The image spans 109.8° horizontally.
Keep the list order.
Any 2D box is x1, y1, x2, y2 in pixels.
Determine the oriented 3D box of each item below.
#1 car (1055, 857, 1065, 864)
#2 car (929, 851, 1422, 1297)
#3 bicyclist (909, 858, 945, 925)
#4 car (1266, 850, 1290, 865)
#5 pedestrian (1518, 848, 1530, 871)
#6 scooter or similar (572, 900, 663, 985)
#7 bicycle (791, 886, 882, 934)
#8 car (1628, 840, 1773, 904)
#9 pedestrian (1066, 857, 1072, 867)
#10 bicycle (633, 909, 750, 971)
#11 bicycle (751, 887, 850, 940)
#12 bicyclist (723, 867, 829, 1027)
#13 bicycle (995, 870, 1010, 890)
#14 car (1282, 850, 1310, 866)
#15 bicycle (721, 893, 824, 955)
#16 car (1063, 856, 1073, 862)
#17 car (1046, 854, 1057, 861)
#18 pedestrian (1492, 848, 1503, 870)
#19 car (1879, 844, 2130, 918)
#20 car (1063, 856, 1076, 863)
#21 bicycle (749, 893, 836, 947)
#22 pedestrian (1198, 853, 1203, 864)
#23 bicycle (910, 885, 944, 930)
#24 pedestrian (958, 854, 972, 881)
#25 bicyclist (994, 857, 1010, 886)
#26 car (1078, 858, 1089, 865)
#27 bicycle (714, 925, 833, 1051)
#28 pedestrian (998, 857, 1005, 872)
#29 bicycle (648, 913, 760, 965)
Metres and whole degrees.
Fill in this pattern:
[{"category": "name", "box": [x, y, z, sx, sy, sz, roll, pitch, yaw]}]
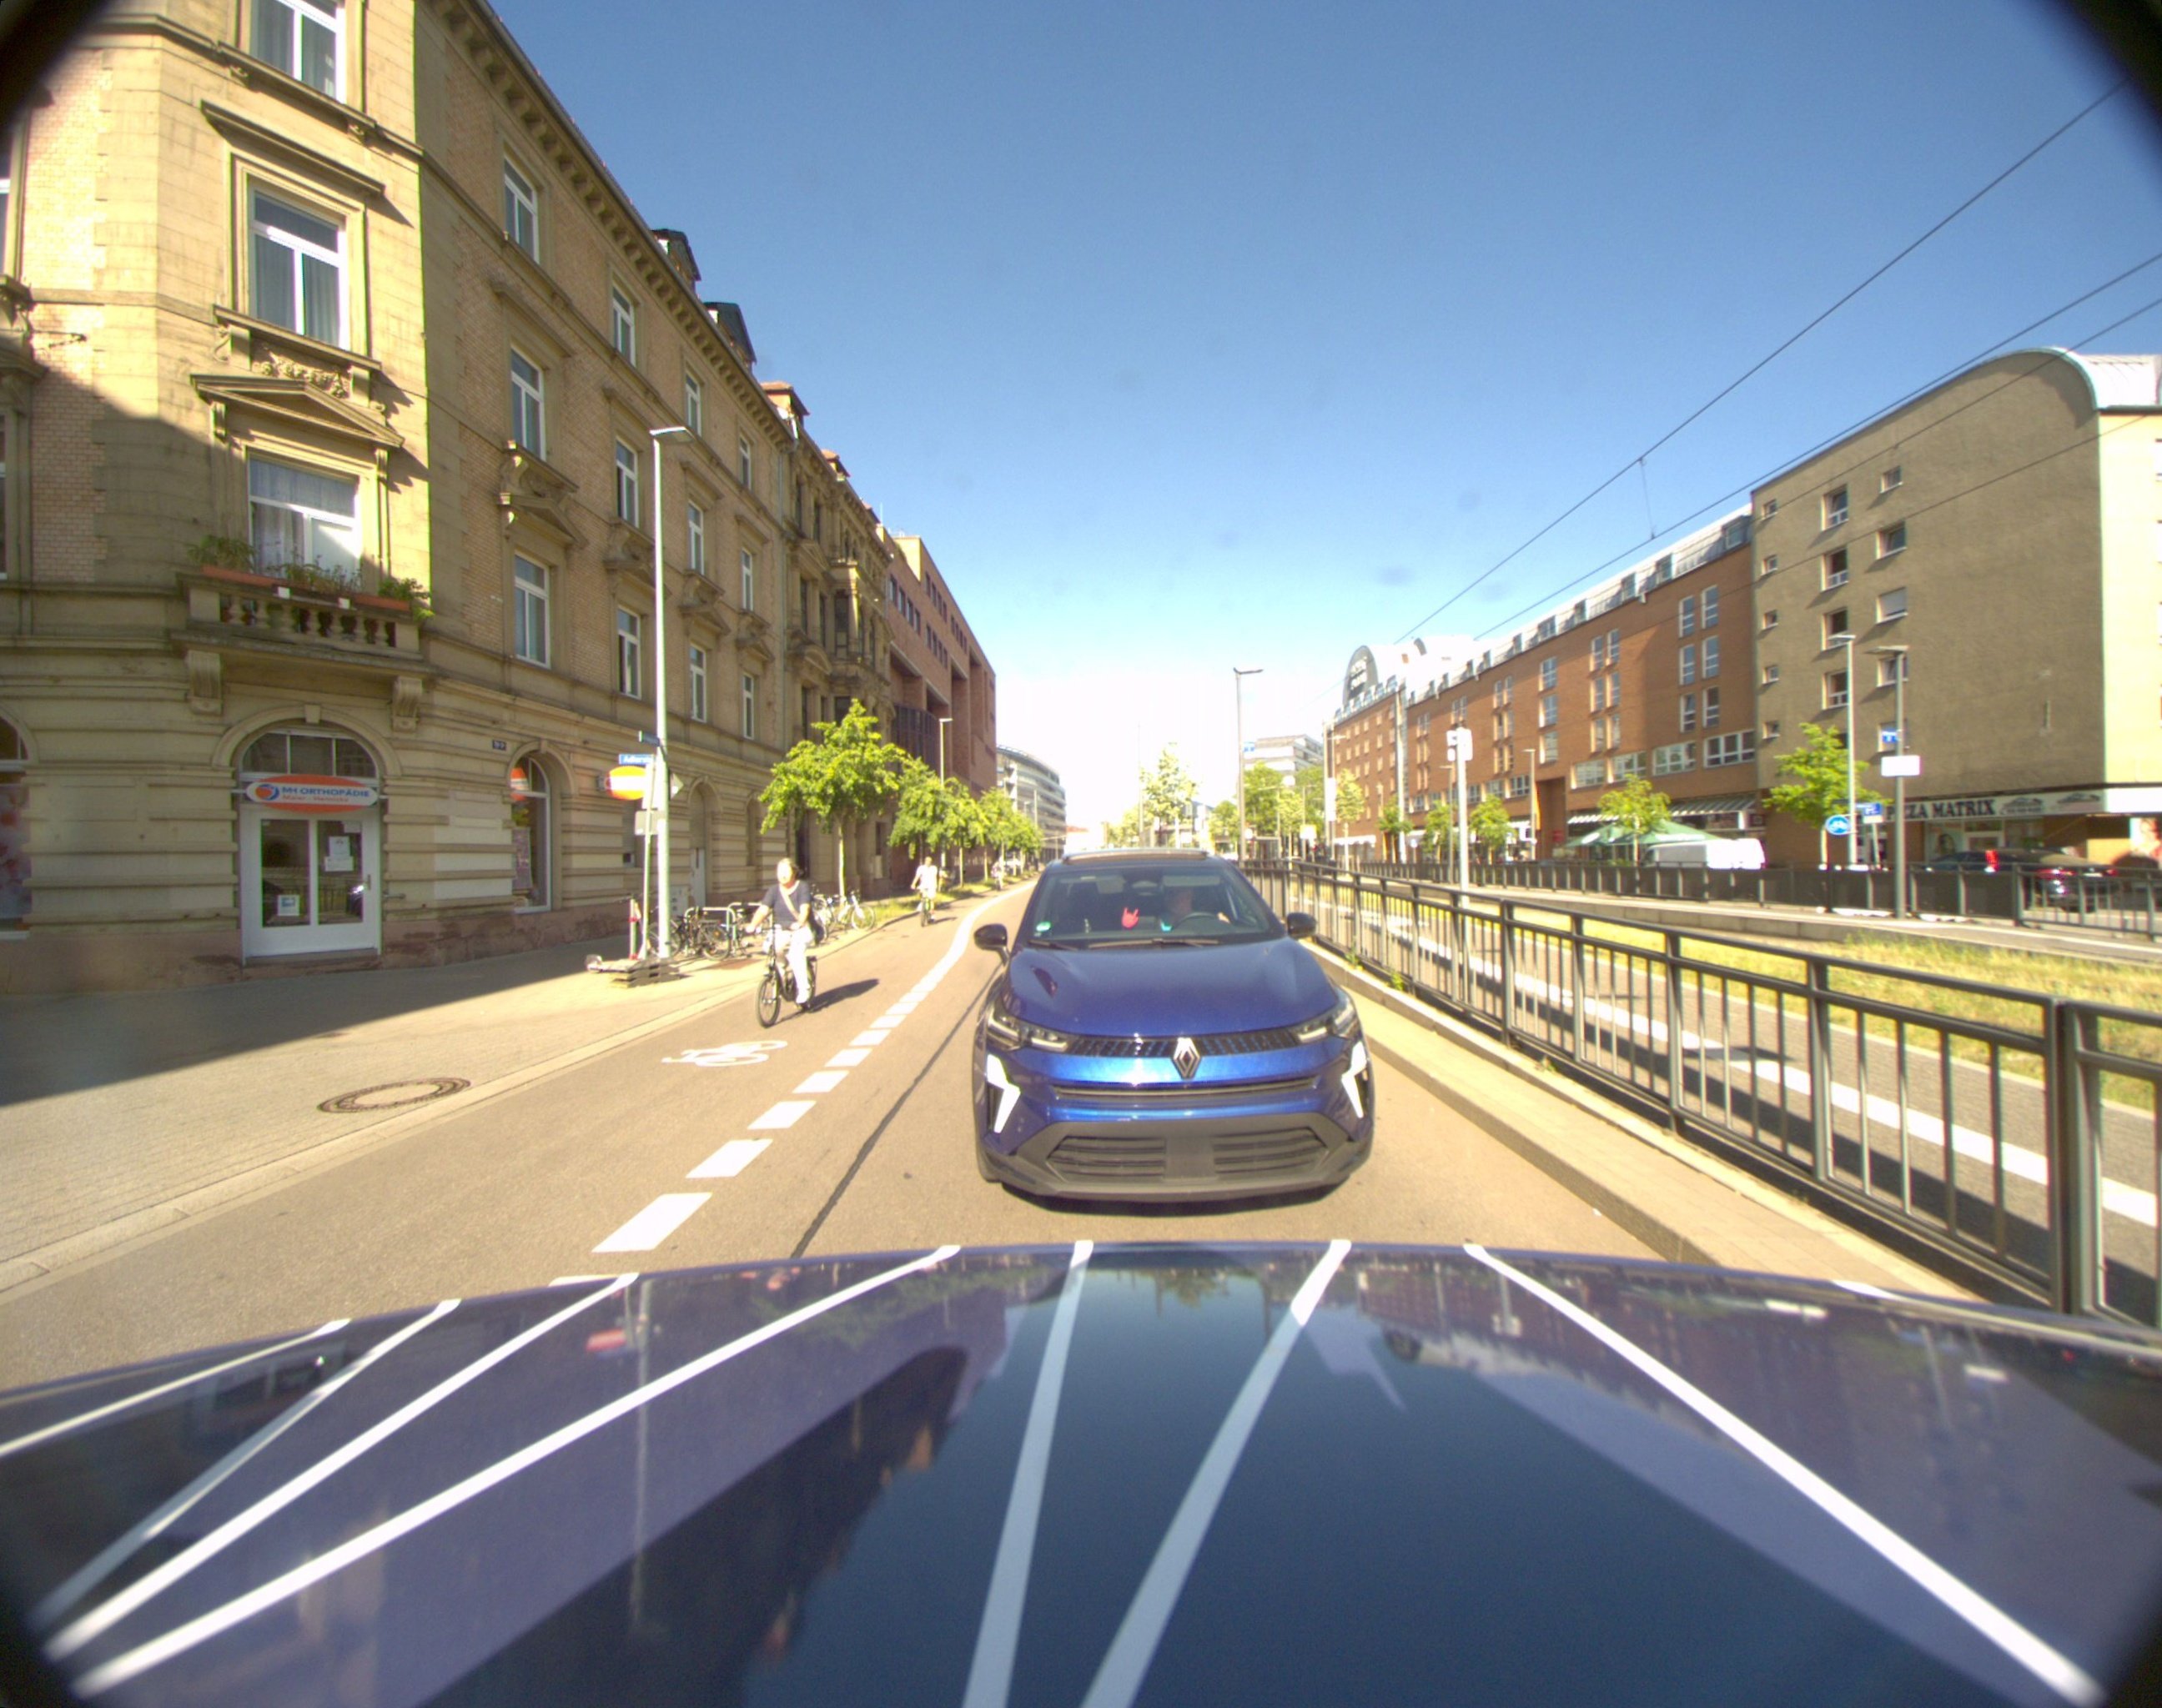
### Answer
[{"category": "car", "box": [-5.023, 1.478, 181.512, 1.882, 1.455, 4.001, -2, 1, 7]}, {"category": "car", "box": [0.386, 0.832, 4.875, 1.802, 1.596, 3.999, -2, 1, 1]}, {"category": "bicyclist", "box": [-4.145, 0.987, 20.513, 0.684, 1.718, 0.909, -3, 0, 0]}, {"category": "car", "box": [24.585, 0.446, 94.851, 1.998, 1.674, 3.999, -2, 1, 1]}, {"category": "pedestrian", "box": [34.901, 0.432, 59.860, 0.622, 1.830, 0.645, -1, 1, 1]}, {"category": "scooter or similar", "box": [-6.768, 1.279, 11.103, 1.113, 1.183, 0.419, 0, 0, 8]}, {"category": "bicycle", "box": [-6.023, 1.381, 18.816, 2.001, 1.086, 0.846, 1, 0, -9]}, {"category": "car", "box": [25.345, 0.675, 31.424, 1.997, 2.356, 5.649, -1, 0, 8]}, {"category": "pedestrian", "box": [-1.712, 1.136, 106.347, 0.774, 1.478, 0.686, -1, 0, 1]}, {"category": "bicycle", "box": [-6.397, 1.400, 12.508, 1.673, 0.938, 0.607, 0, 0, 8]}, {"category": "bicycle", "box": [-6.450, 1.350, 17.520, 1.999, 1.121, 0.710, 1, 0, 2]}, {"category": "bicyclist", "box": [-3.152, 0.921, 7.934, 0.659, 1.528, 0.909, -3, 0, 0]}, {"category": "bicycle", "box": [-4.554, 1.517, 43.984, 0.578, 1.090, 1.507, -3, 0, 3]}, {"category": "car", "box": [24.141, 0.442, 85.388, 1.998, 1.674, 3.999, -2, 1, 1]}, {"category": "bicycle", "box": [-5.927, 1.339, 14.645, 1.727, 1.094, 0.607, 1, 0, 4]}, {"category": "car", "box": [-3.186, 1.299, 189.728, 1.882, 1.455, 4.001, -2, 1, 7]}, {"category": "car", "box": [-6.806, 0.770, 174.210, 1.882, 1.455, 4.001, -2, 1, 7]}, {"category": "pedestrian", "box": [35.515, 0.433, 64.809, 0.622, 1.830, 0.644, -1, 1, -1]}, {"category": "car", "box": [24.201, 0.657, 20.177, 1.819, 1.749, 4.000, -1, 0, 0]}, {"category": "car", "box": [-2.634, 1.305, 173.737, 2.120, 1.547, 4.003, -1, 0, 9]}, {"category": "bicycle", "box": [-6.130, 1.398, 16.204, 1.603, 1.039, 0.607, 1, 0, 4]}, {"category": "pedestrian", "box": [16.672, 0.600, 105.959, 0.608, 1.560, 0.728, -1, 0, 21]}, {"category": "bicycle", "box": [-4.143, 1.422, 20.477, 0.578, 1.090, 1.507, -3, 0, -1]}, {"category": "pedestrian", "box": [-8.213, 0.940, 53.812, 0.790, 1.872, 1.106, -1, 1, 0]}, {"category": "bicyclist", "box": [-4.578, 1.021, 43.994, 0.755, 1.607, 0.762, -3, 0, 4]}, {"category": "car", "box": [0.660, 1.700, 172.555, 1.882, 1.455, 4.002, -2, 1, 8]}, {"category": "bicycle", "box": [-3.140, 1.333, 7.901, 0.558, 1.021, 1.507, -3, 0, 0]}, {"category": "pedestrian", "box": [-8.088, 1.065, 77.055, 0.633, 1.478, 0.736, -1, 1, 0]}, {"category": "bicycle", "box": [-6.525, 1.464, 13.176, 1.673, 0.816, 0.607, 0, 0, 7]}]
